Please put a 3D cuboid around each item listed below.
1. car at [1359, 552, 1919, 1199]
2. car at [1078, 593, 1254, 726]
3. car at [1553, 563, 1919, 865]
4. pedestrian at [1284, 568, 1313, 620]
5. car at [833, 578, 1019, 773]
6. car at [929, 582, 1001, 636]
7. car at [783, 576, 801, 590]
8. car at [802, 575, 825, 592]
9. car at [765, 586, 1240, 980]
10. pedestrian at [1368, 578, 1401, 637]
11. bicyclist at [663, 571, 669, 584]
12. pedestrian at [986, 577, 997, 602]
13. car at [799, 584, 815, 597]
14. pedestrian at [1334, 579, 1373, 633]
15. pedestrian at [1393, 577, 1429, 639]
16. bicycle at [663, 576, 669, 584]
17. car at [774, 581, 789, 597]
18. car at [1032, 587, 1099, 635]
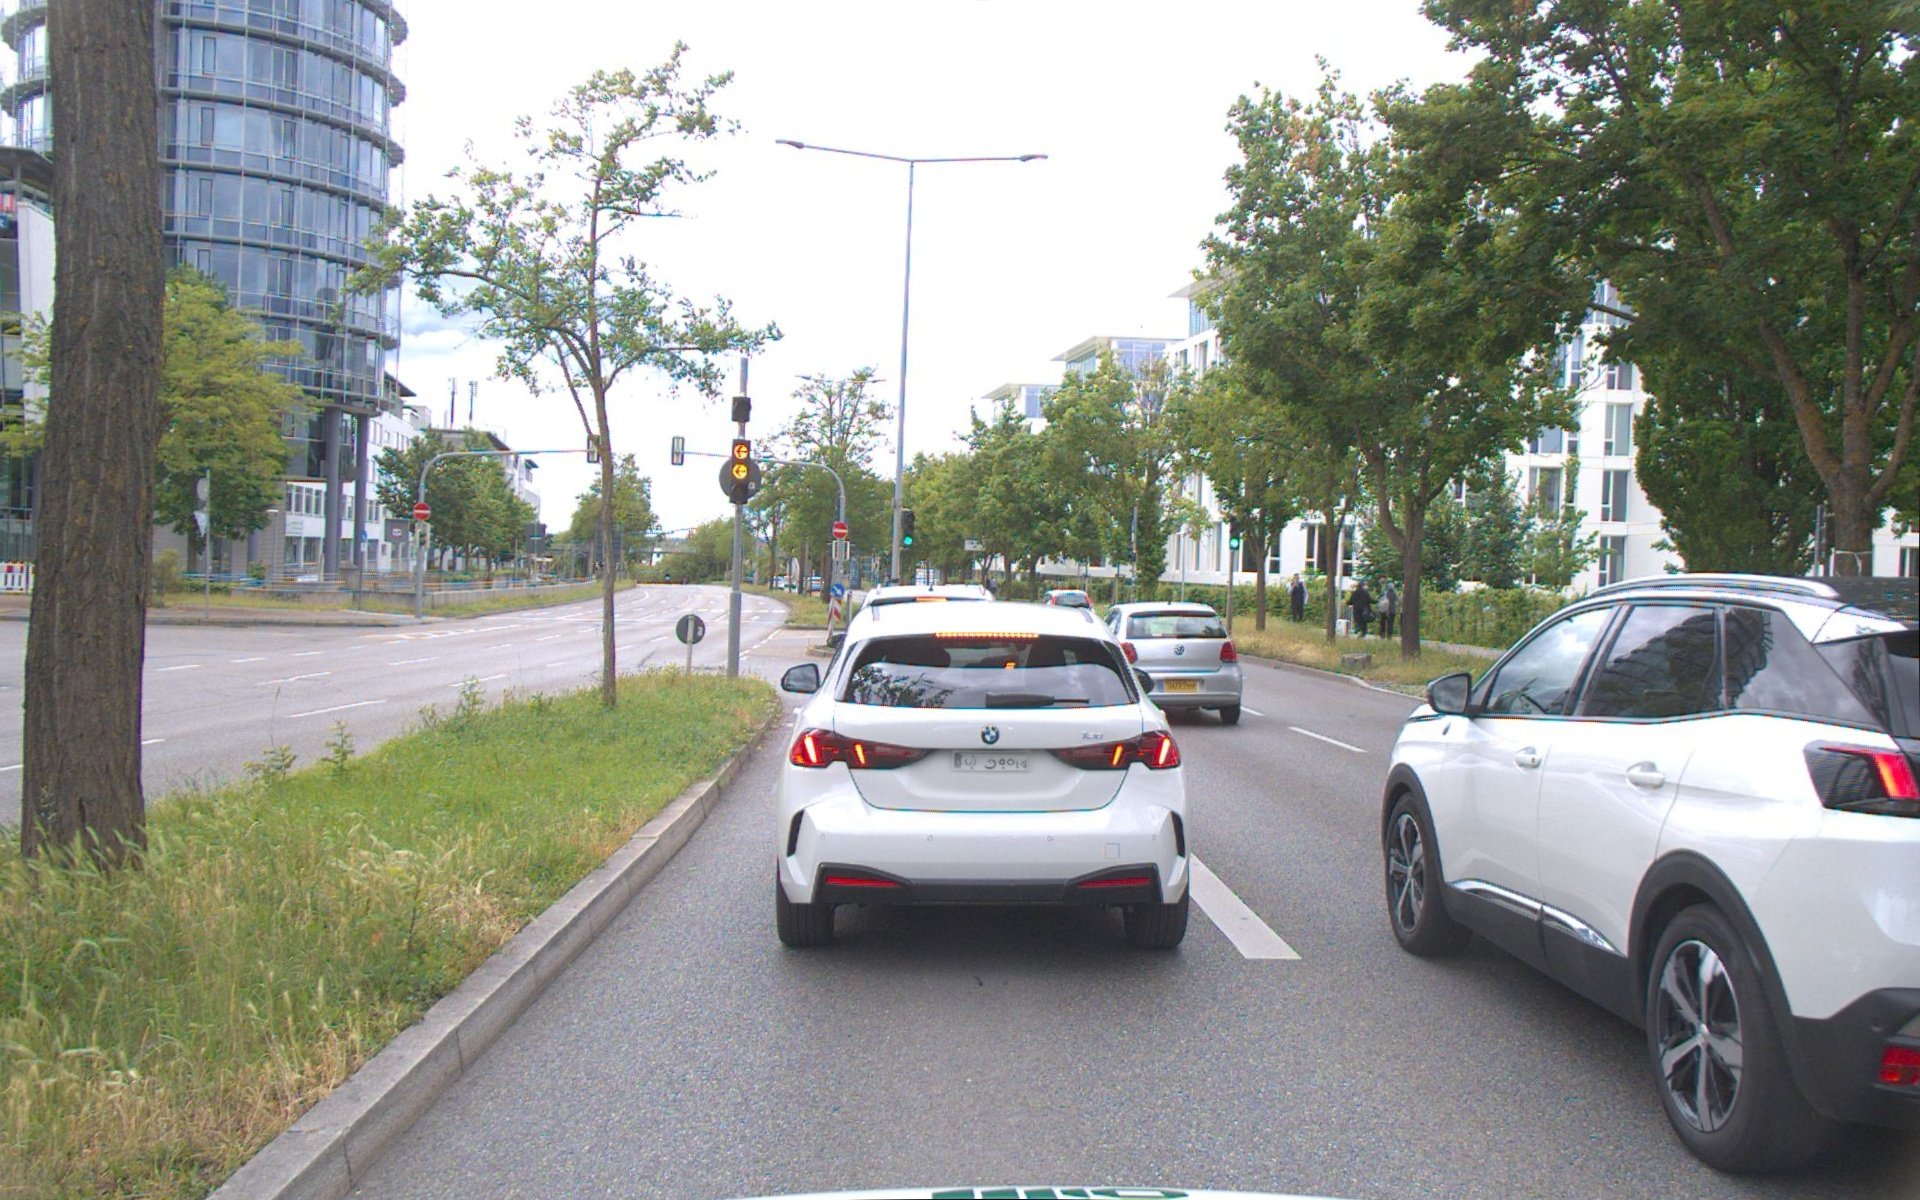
[{"bbox_3d":[2.884,0.702,5.791,1.817,1.624,4.312,0,0,-2],"label":"car"},{"bbox_3d":[2.515,0.688,20.981,1.573,1.494,3.673,1,0,-3],"label":"car"},{"bbox_3d":[5.310,0.602,10.466,1.623,1.539,3.999,1,0,-1],"label":"car"},{"bbox_3d":[10.624,-0.178,51.966,0.726,1.601,0.674,1,-1,-2],"label":"pedestrian"},{"bbox_3d":[-0.316,0.625,15.839,1.518,1.596,3.999,1,0,-1],"label":"car"},{"bbox_3d":[0.126,0.267,52.815,1.855,1.623,4.308,1,0,-6],"label":"car"},{"bbox_3d":[-22.098,-2.252,217.524,1.957,1.763,3.991,1,0,-10],"label":"car"},{"bbox_3d":[-15.071,-1.657,170.038,1.957,1.699,3.991,0,0,-10],"label":"car"},{"bbox_3d":[0.138,0.692,8.326,1.785,1.463,3.999,1,0,-1],"label":"car"},{"bbox_3d":[11.948,0.205,46.564,0.685,1.623,0.883,1,-1,-2],"label":"pedestrian"},{"bbox_3d":[-40.709,-3.119,228.855,0.795,1.681,1.186,1,0,-10],"label":"bicyclist"},{"bbox_3d":[2.622,-0.834,137.515,0.749,2.049,0.751,1,-1,-16],"label":"pedestrian"},{"bbox_3d":[-17.840,-1.092,193.385,1.661,1.512,3.687,1,0,-8],"label":"car"},{"bbox_3d":[11.126,0.168,46.802,0.773,1.473,1.111,1,0,-2],"label":"pedestrian"},{"bbox_3d":[12.700,0.218,46.577,0.751,1.715,0.883,1,-1,-2],"label":"pedestrian"},{"bbox_3d":[-40.699,-2.758,228.762,0.795,1.123,2.550,1,0,-10],"label":"bicycle"},{"bbox_3d":[-20.865,-1.245,192.747,1.663,1.747,3.994,1,0,-7],"label":"car"},{"bbox_3d":[3.335,0.330,52.841,1.621,1.450,3.532,0,0,-5],"label":"car"}]
